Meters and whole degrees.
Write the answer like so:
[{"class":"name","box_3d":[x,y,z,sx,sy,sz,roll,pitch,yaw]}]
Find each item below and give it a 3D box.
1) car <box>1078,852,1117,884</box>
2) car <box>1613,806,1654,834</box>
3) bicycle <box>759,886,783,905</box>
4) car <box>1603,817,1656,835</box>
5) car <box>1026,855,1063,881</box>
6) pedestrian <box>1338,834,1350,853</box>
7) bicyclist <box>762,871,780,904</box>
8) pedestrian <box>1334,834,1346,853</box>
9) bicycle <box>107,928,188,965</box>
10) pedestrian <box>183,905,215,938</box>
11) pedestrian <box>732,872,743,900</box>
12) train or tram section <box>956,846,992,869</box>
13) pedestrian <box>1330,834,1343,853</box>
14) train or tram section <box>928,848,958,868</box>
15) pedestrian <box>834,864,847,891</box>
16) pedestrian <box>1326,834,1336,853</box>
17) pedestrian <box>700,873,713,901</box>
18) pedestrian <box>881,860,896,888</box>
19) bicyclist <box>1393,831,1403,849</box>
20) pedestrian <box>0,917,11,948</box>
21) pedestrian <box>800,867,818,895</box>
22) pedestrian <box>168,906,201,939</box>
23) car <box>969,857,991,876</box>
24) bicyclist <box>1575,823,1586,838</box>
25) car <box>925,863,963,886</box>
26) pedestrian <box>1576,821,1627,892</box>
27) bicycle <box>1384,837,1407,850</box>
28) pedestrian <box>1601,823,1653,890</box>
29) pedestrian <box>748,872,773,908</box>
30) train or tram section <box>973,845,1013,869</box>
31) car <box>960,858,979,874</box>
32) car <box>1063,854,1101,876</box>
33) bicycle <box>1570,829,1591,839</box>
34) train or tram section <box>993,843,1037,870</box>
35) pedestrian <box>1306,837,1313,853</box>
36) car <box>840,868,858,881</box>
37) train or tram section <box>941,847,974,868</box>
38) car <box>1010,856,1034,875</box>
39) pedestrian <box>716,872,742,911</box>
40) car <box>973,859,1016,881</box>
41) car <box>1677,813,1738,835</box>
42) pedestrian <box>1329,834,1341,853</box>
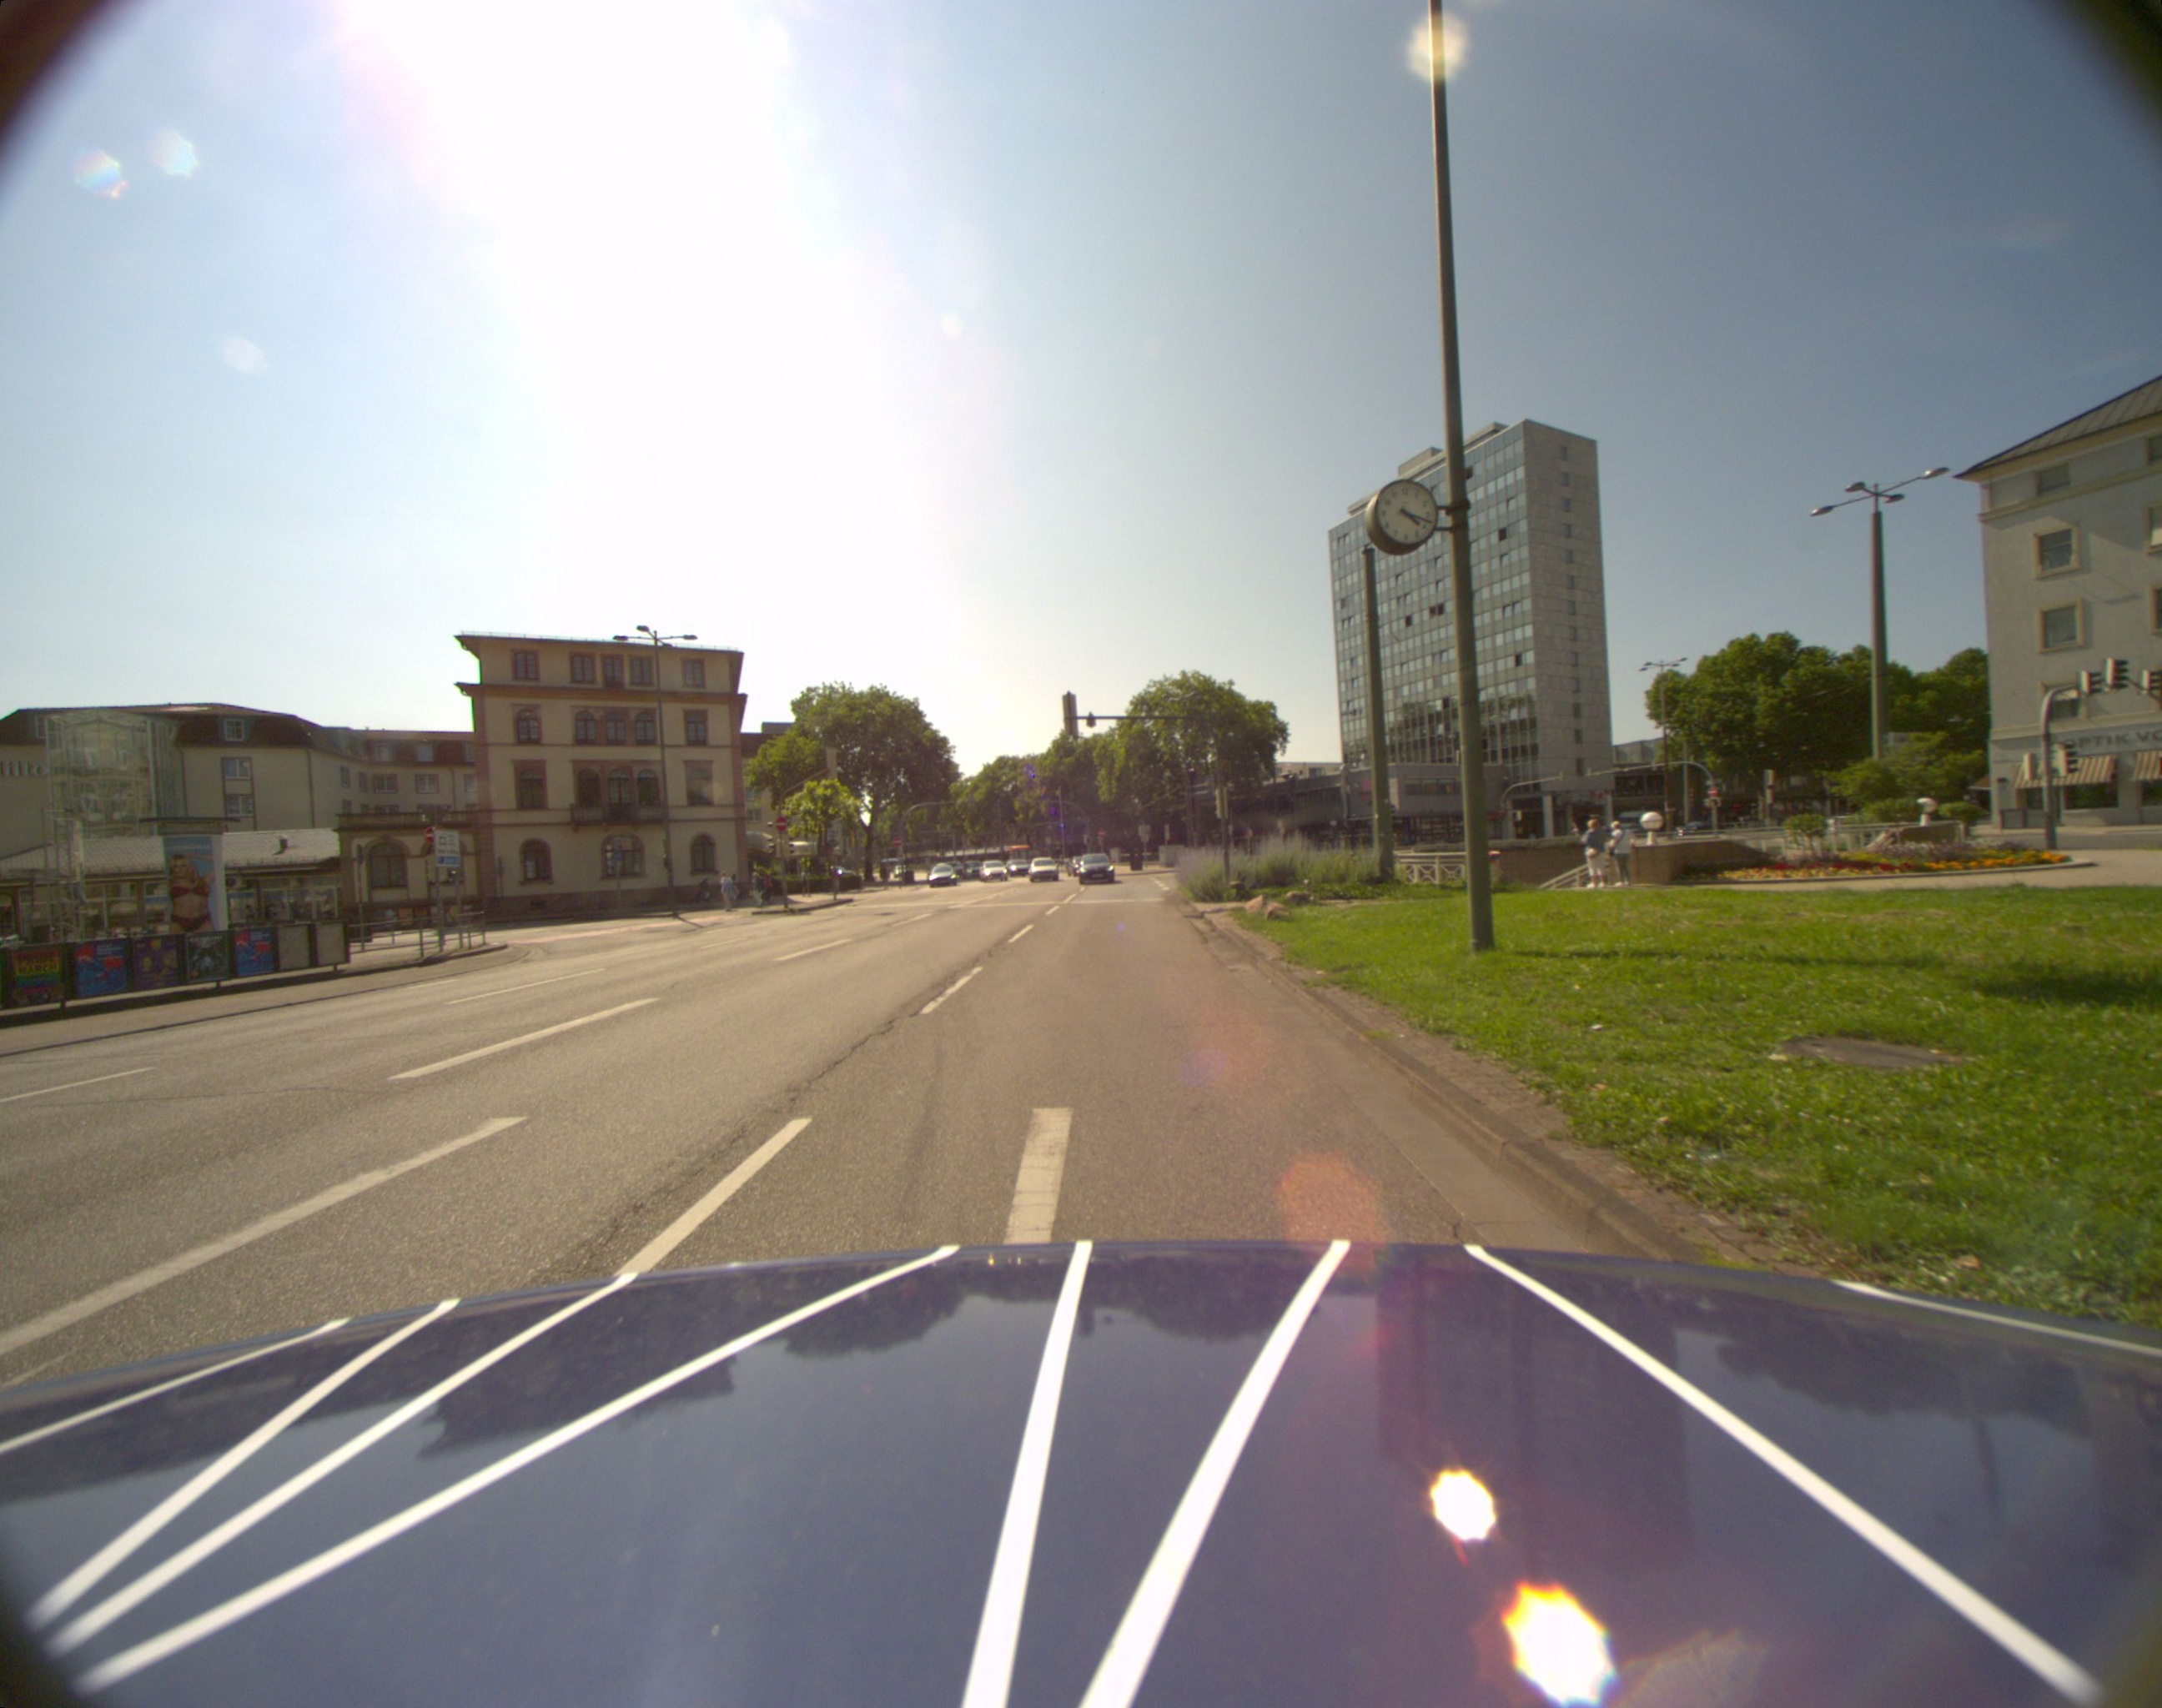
[{"class":"car","box_3d":[0.834,0.658,38.209,1.791,1.443,4.280,-2,0,1]},{"class":"car","box_3d":[61.396,-3.764,84.408,4.642,2.899,1.744,-4,1,-28]},{"class":"bicycle","box_3d":[-15.780,2.087,38.742,0.593,0.850,1.743,-4,0,-6]},{"class":"car","box_3d":[52.903,-2.736,73.296,4.165,1.452,1.881,-4,0,-13]},{"class":"car","box_3d":[-2.336,0.854,47.855,1.720,1.491,4.487,-2,-1,-10]},{"class":"pedestrian","box_3d":[24.973,-0.995,72.188,0.824,1.825,0.670,-3,1,-27]},{"class":"bicyclist","box_3d":[-15.809,1.704,38.736,0.593,1.597,0.684,-4,1,-6]},{"class":"pedestrian","box_3d":[24.954,-1.019,73.261,0.824,1.825,0.670,-3,1,-26]},{"class":"bicycle","box_3d":[-31.505,3.116,25.670,1.820,1.093,0.504,-3,1,-8]},{"class":"pedestrian","box_3d":[-46.175,3.519,39.769,0.724,1.594,0.719,-3,1,1]},{"class":"pedestrian","box_3d":[-20.766,1.933,45.940,0.536,1.639,0.579,-4,1,-23]},{"class":"train or tram section","box_3d":[-16.857,0.561,119.208,2.738,3.248,8.720,-4,0,-27]},{"class":"pedestrian","box_3d":[24.955,-1.047,74.235,0.824,1.825,0.733,-3,1,-26]},{"class":"train or tram section","box_3d":[-24.611,0.719,134.886,2.738,3.248,8.720,-4,0,-27]},{"class":"pedestrian","box_3d":[-16.139,1.577,50.973,0.727,1.795,0.651,-4,1,-19]},{"class":"pedestrian","box_3d":[25.225,-1.059,76.730,0.822,1.796,0.672,-2,1,12]},{"class":"pedestrian","box_3d":[-22.851,2.019,46.380,0.536,1.639,0.673,-4,1,-23]},{"class":"pedestrian","box_3d":[-13.358,1.381,52.718,0.590,1.835,0.730,-3,1,41]},{"class":"bicyclist","box_3d":[30.879,-1.345,74.110,0.683,1.677,0.584,-3,1,4]},{"class":"pedestrian","box_3d":[-56.471,4.110,39.432,0.723,1.594,0.719,-3,1,5]},{"class":"pedestrian","box_3d":[-17.112,1.707,47.794,0.845,1.685,0.743,-4,1,-27]},{"class":"pedestrian","box_3d":[-46.191,3.526,39.170,0.724,1.594,0.719,-3,1,2]},{"class":"car","box_3d":[-8.856,1.077,66.491,1.792,1.521,3.971,-2,0,-7]},{"class":"bicyclist","box_3d":[49.093,-2.312,74.721,0.684,1.518,0.582,-4,2,-15]},{"class":"car","box_3d":[-9.378,1.348,51.841,1.794,1.443,3.967,-2,0,-20]},{"class":"pedestrian","box_3d":[12.020,0.061,17.562,0.692,1.584,0.599,-4,1,-13]},{"class":"bicycle","box_3d":[30.678,-1.046,74.131,1.967,1.096,0.577,-3,1,4]},{"class":"pedestrian","box_3d":[12.708,0.057,17.690,0.851,1.501,0.474,-4,1,-14]},{"class":"pedestrian","box_3d":[-14.667,1.636,34.797,0.773,1.563,0.829,-4,1,-6]},{"class":"train or tram section","box_3d":[-12.962,0.481,111.399,2.738,3.248,8.720,-4,0,-27]},{"class":"car","box_3d":[-11.028,1.201,75.191,1.792,1.443,3.971,-2,0,-8]},{"class":"car","box_3d":[0.035,0.770,55.869,1.793,1.508,3.969,-2,0,-14]},{"class":"bicycle","box_3d":[49.126,-1.994,74.738,1.811,0.878,0.592,-4,2,-15]},{"class":"train or tram section","box_3d":[-9.075,0.401,103.630,2.738,3.248,8.720,-4,0,-27]},{"class":"pedestrian","box_3d":[23.169,-0.887,76.961,0.564,1.629,0.600,-2,1,19]},{"class":"car","box_3d":[-26.538,2.349,86.932,1.592,1.314,3.573,-4,0,-21]},{"class":"train or tram section","box_3d":[-20.728,0.640,127.028,2.738,3.248,8.720,-4,0,-27]},{"class":"car","box_3d":[-4.929,0.935,63.016,1.792,1.514,3.971,-2,0,-8]},{"class":"pedestrian","box_3d":[-15.679,1.645,33.881,0.754,1.650,0.829,-4,1,-7]},{"class":"car","box_3d":[-6.208,1.113,54.077,1.794,1.443,3.966,-2,0,-25]},{"class":"car","box_3d":[53.375,-2.558,64.746,4.080,1.525,1.880,-4,0,-13]},{"class":"pedestrian","box_3d":[25.091,-1.063,75.127,0.824,1.825,0.670,-3,1,-25]}]
